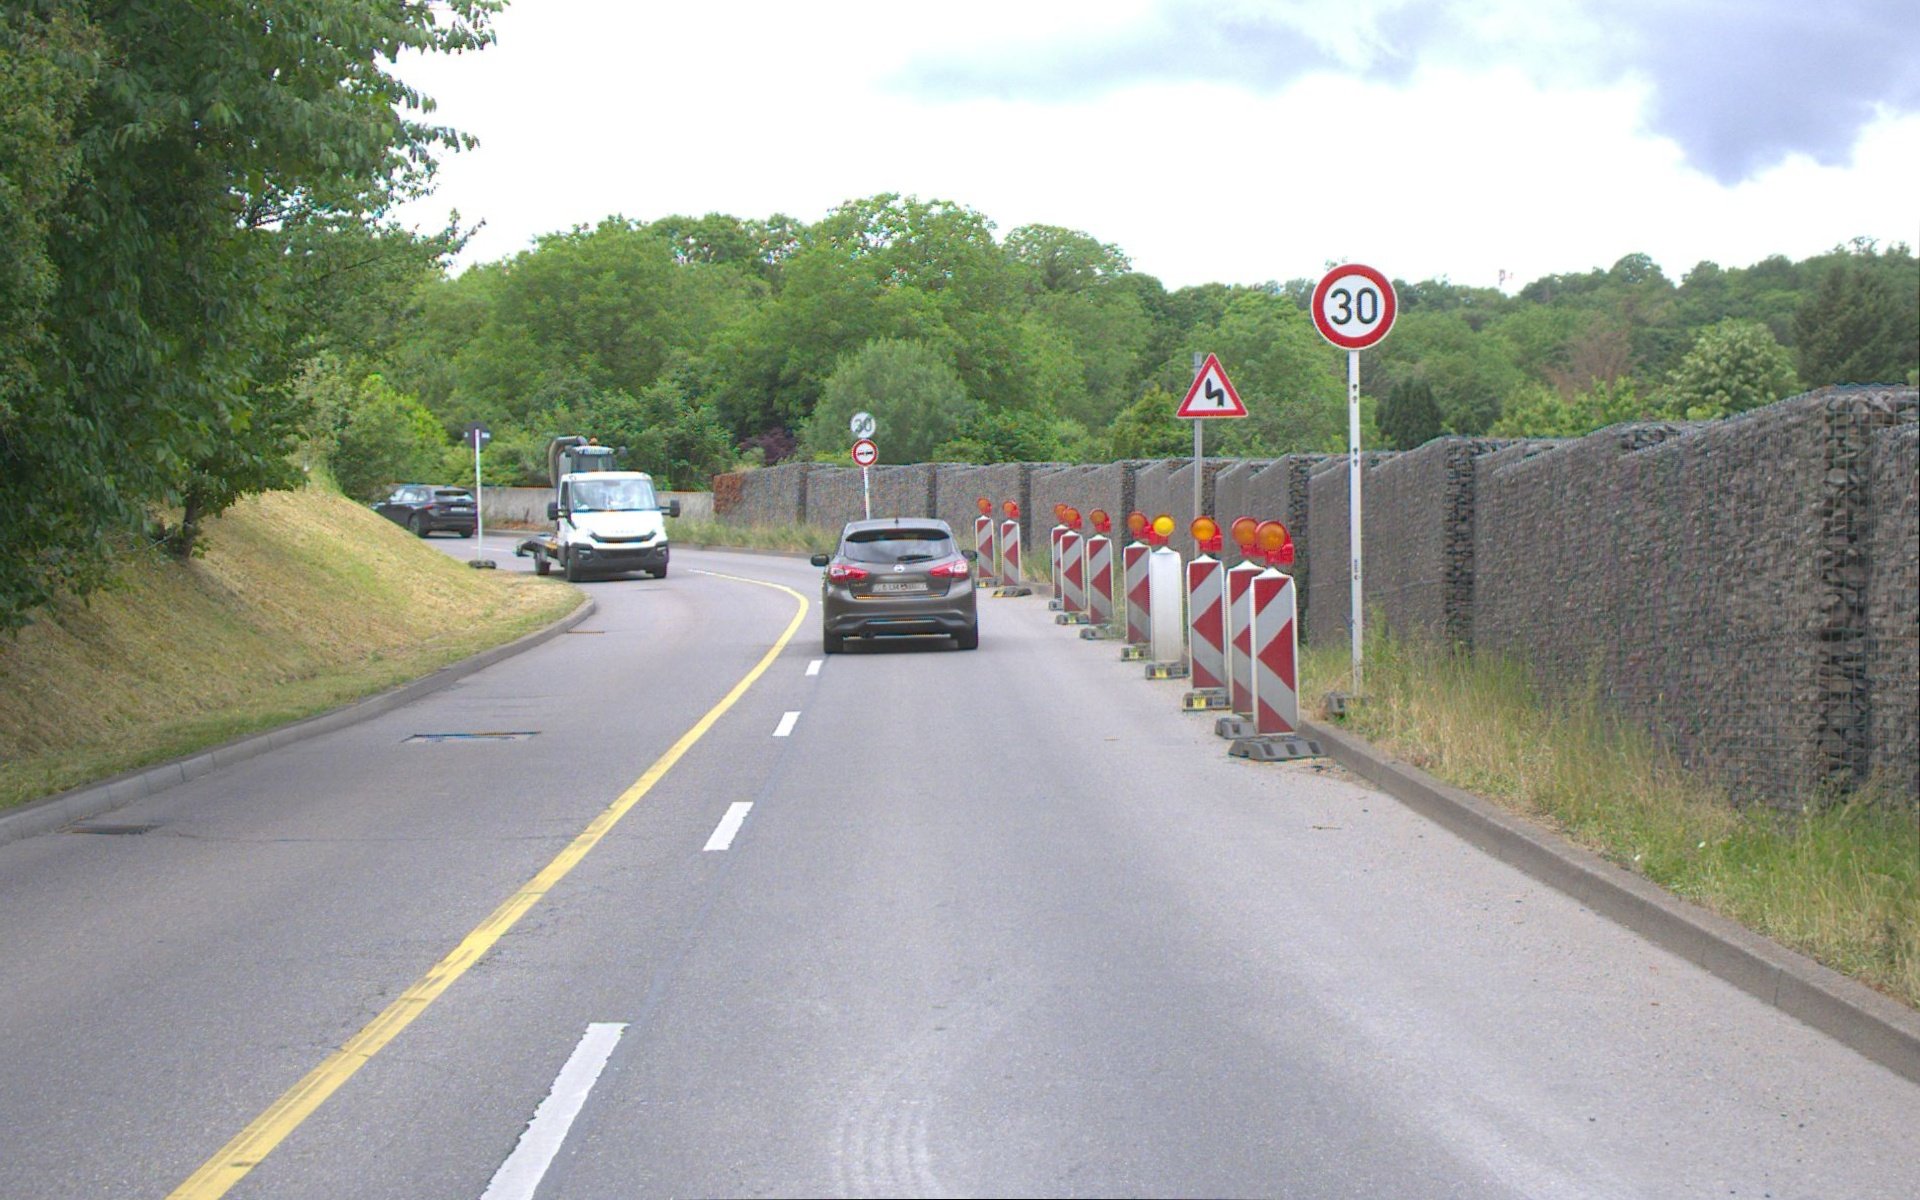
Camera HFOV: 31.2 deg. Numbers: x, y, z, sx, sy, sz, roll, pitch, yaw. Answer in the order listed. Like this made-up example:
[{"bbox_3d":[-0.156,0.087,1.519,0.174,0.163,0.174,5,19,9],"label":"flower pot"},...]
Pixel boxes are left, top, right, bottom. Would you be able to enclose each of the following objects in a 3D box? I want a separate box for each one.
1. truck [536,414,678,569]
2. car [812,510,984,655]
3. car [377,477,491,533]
[{"bbox_3d":[-7.429,-2.253,71.668,2.214,3.004,7.742,-1,2,-11],"label":"truck"},{"bbox_3d":[-0.777,-0.252,40.434,1.839,1.478,4.001,-2,3,-3],"label":"car"},{"bbox_3d":[-14.900,-2.668,97.199,1.779,1.448,3.858,2,-1,-32],"label":"car"}]
